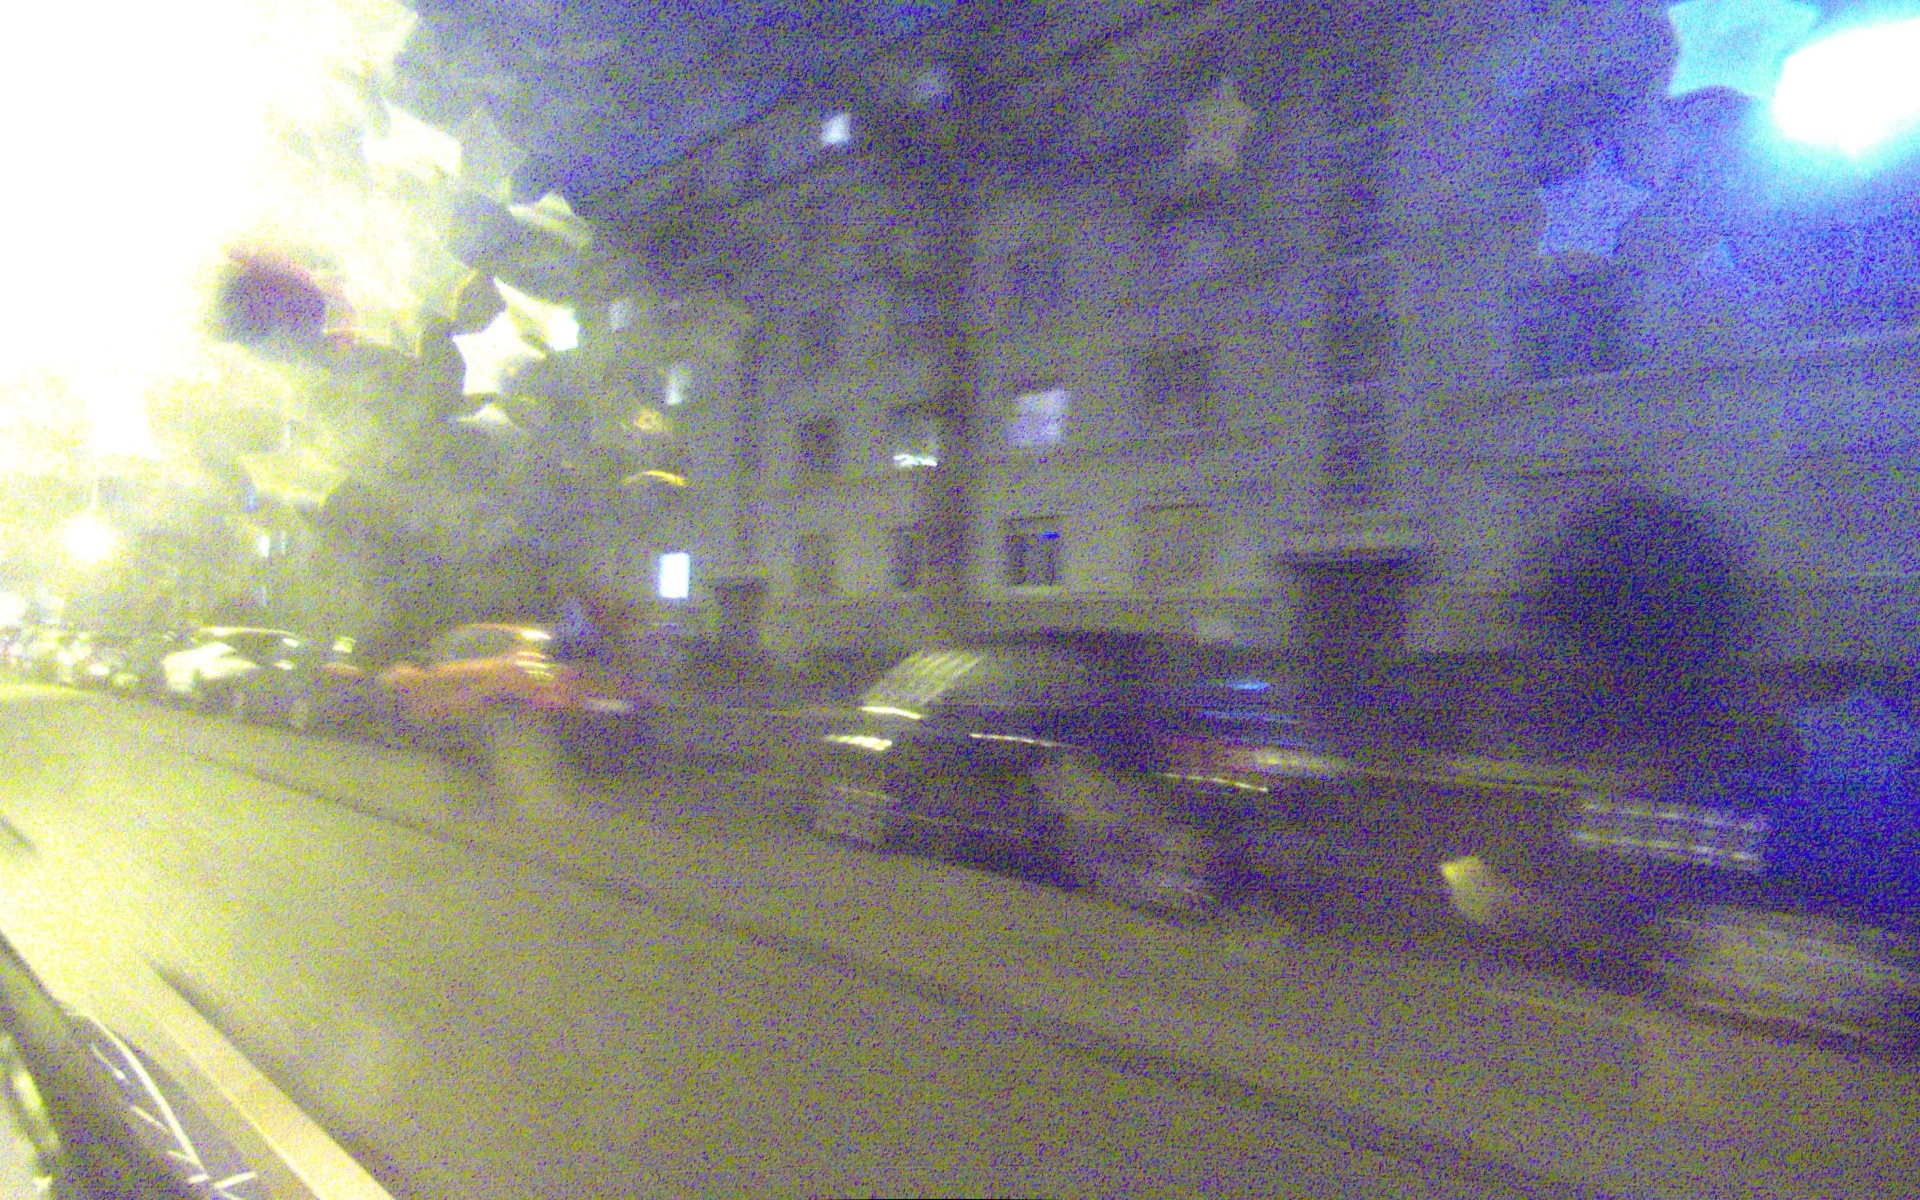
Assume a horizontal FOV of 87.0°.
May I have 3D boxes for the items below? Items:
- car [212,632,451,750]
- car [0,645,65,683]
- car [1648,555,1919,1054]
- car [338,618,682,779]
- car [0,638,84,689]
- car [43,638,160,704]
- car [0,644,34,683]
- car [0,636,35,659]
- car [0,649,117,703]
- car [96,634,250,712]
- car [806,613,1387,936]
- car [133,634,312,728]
[{"bbox_3d":[-9.629,1.335,15.374,4.386,1.551,1.649,-2,-6,39],"label":"car"},{"bbox_3d":[-34.177,2.317,36.911,4.637,1.278,1.818,-3,-5,43],"label":"car"},{"bbox_3d":[4.362,0.700,3.304,3.370,1.632,1.459,-2,-6,39],"label":"car"},{"bbox_3d":[-5.478,1.109,12.120,4.382,1.610,1.731,-2,-6,36],"label":"car"},{"bbox_3d":[-30.396,2.086,33.386,4.058,1.552,1.688,-2,-6,42],"label":"car"},{"bbox_3d":[-22.112,1.786,26.000,4.389,1.552,1.648,-2,-5,42],"label":"car"},{"bbox_3d":[-38.374,2.513,40.207,4.393,1.484,1.776,-2,-5,41],"label":"car"},{"bbox_3d":[-76.094,3.737,79.742,4.473,1.719,1.855,3,-4,-35],"label":"car"},{"bbox_3d":[-26.098,2.157,29.216,4.667,1.429,1.604,-2,-5,37],"label":"car"},{"bbox_3d":[-17.346,1.575,22.241,4.385,1.552,1.649,-2,-5,39],"label":"car"},{"bbox_3d":[0.693,0.910,6.321,3.373,1.471,1.416,-3,-7,42],"label":"car"},{"bbox_3d":[-13.735,1.477,18.764,4.388,1.551,1.648,-2,-7,41],"label":"car"}]
